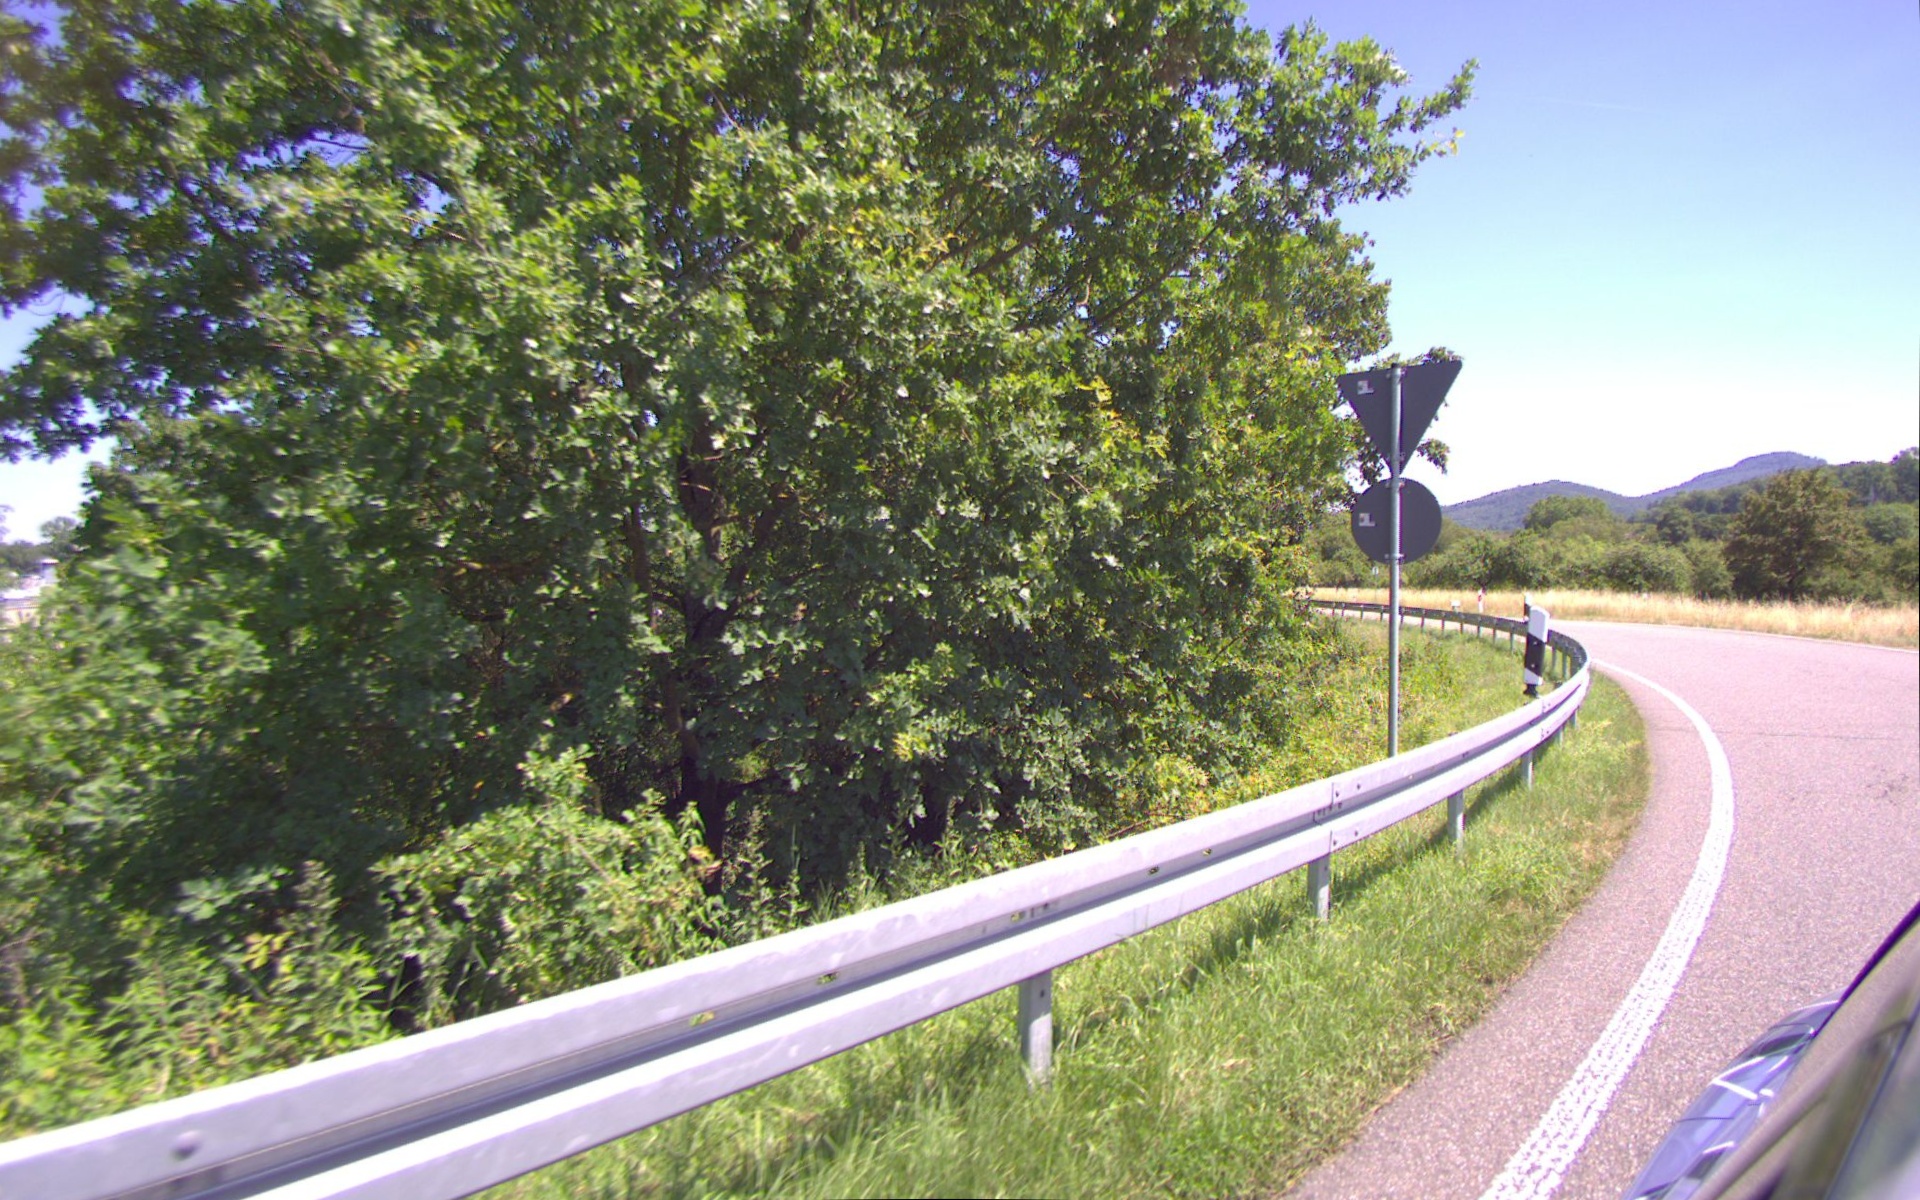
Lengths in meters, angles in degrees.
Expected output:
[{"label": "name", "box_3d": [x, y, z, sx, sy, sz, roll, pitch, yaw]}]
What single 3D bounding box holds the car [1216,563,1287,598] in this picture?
[{"label": "car", "box_3d": [17.745, -1.219, 61.759, 1.958, 2.038, 4.455, 1, 1, -18]}]
